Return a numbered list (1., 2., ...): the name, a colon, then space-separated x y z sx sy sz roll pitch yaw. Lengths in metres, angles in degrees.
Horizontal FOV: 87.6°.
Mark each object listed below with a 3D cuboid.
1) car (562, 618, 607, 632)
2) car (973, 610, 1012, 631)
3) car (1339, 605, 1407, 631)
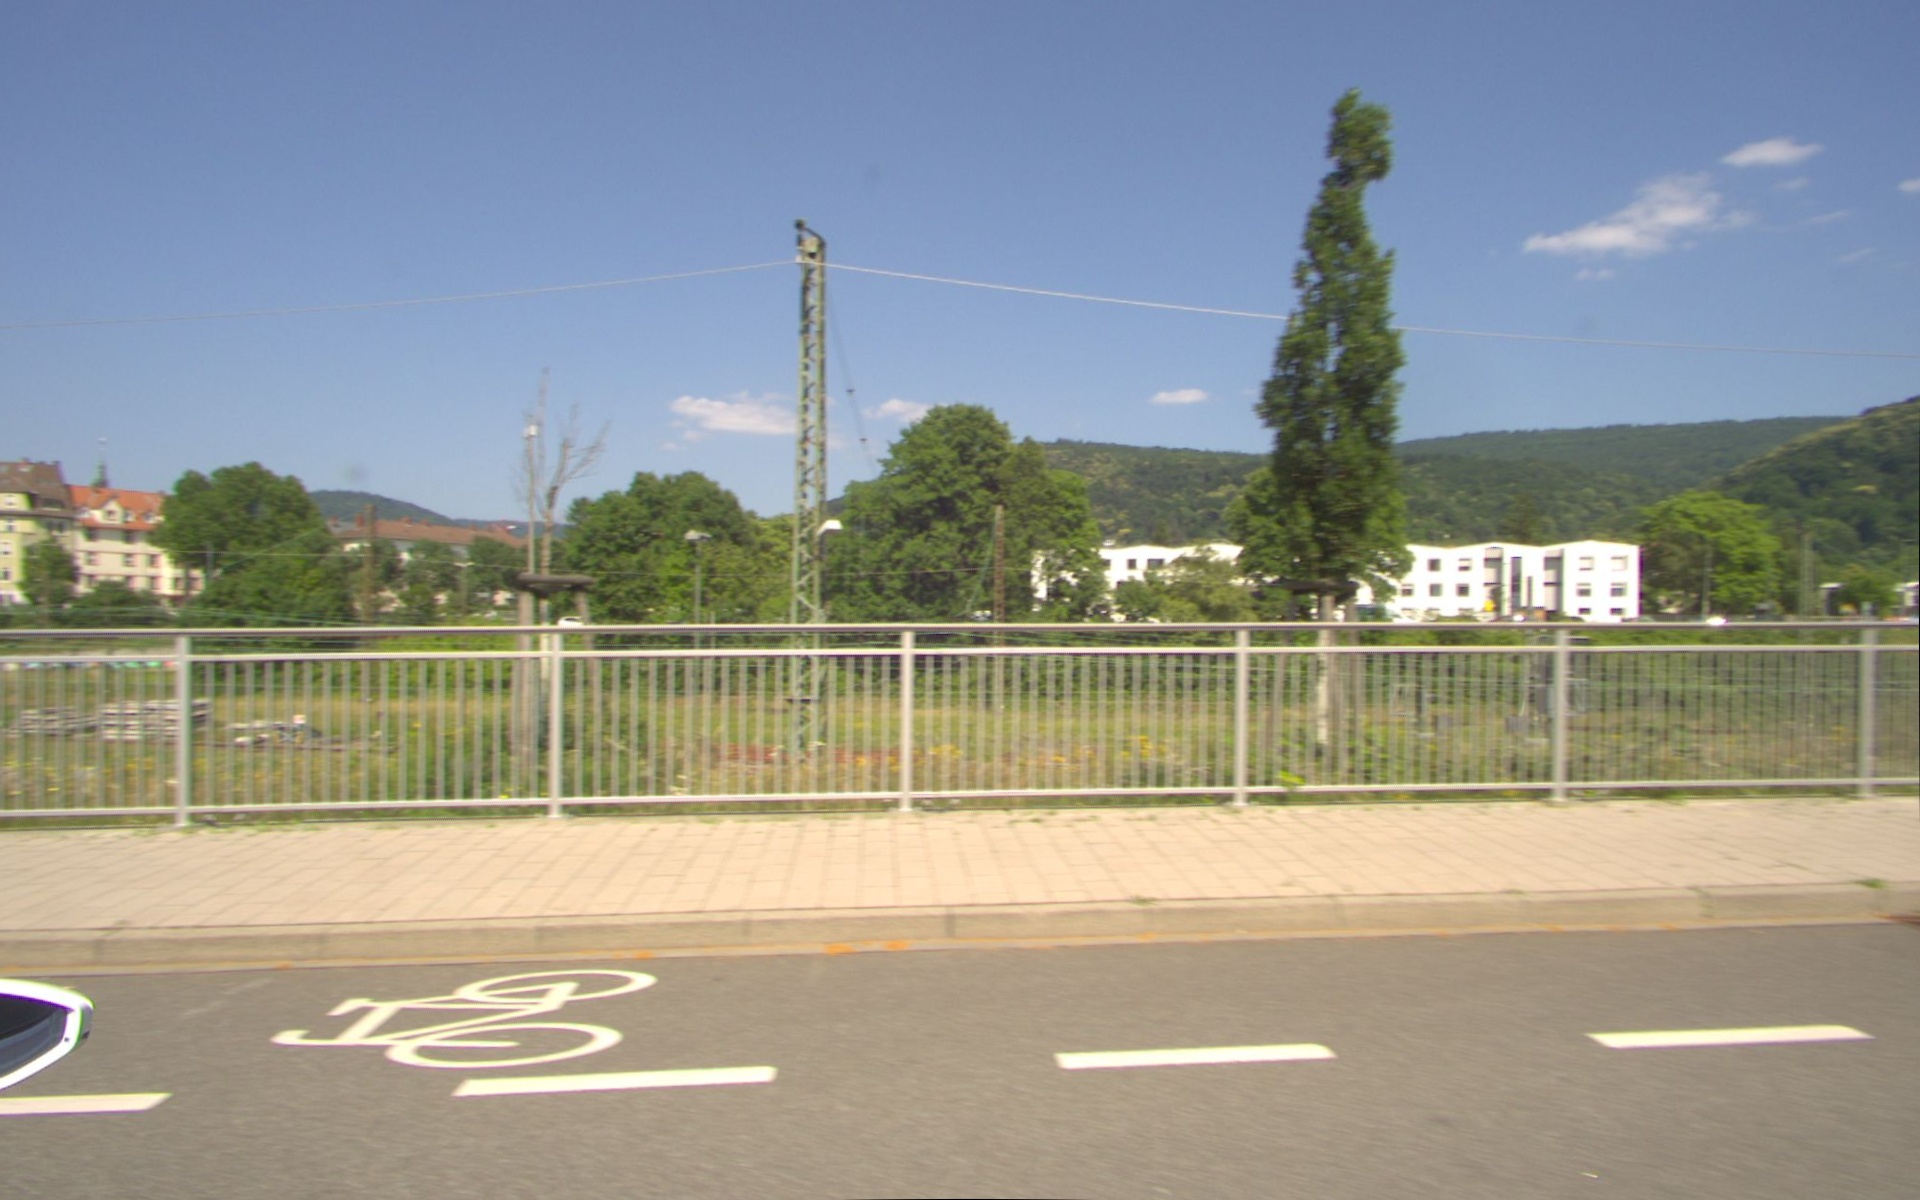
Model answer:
1. car: -38.202 2.568 101.866 4.245 1.385 1.860 0 0 25
2. car: 3.465 2.152 105.718 3.861 2.037 1.756 -2 -5 13
3. car: 38.174 1.669 92.696 5.412 2.126 2.138 -1 -5 6
